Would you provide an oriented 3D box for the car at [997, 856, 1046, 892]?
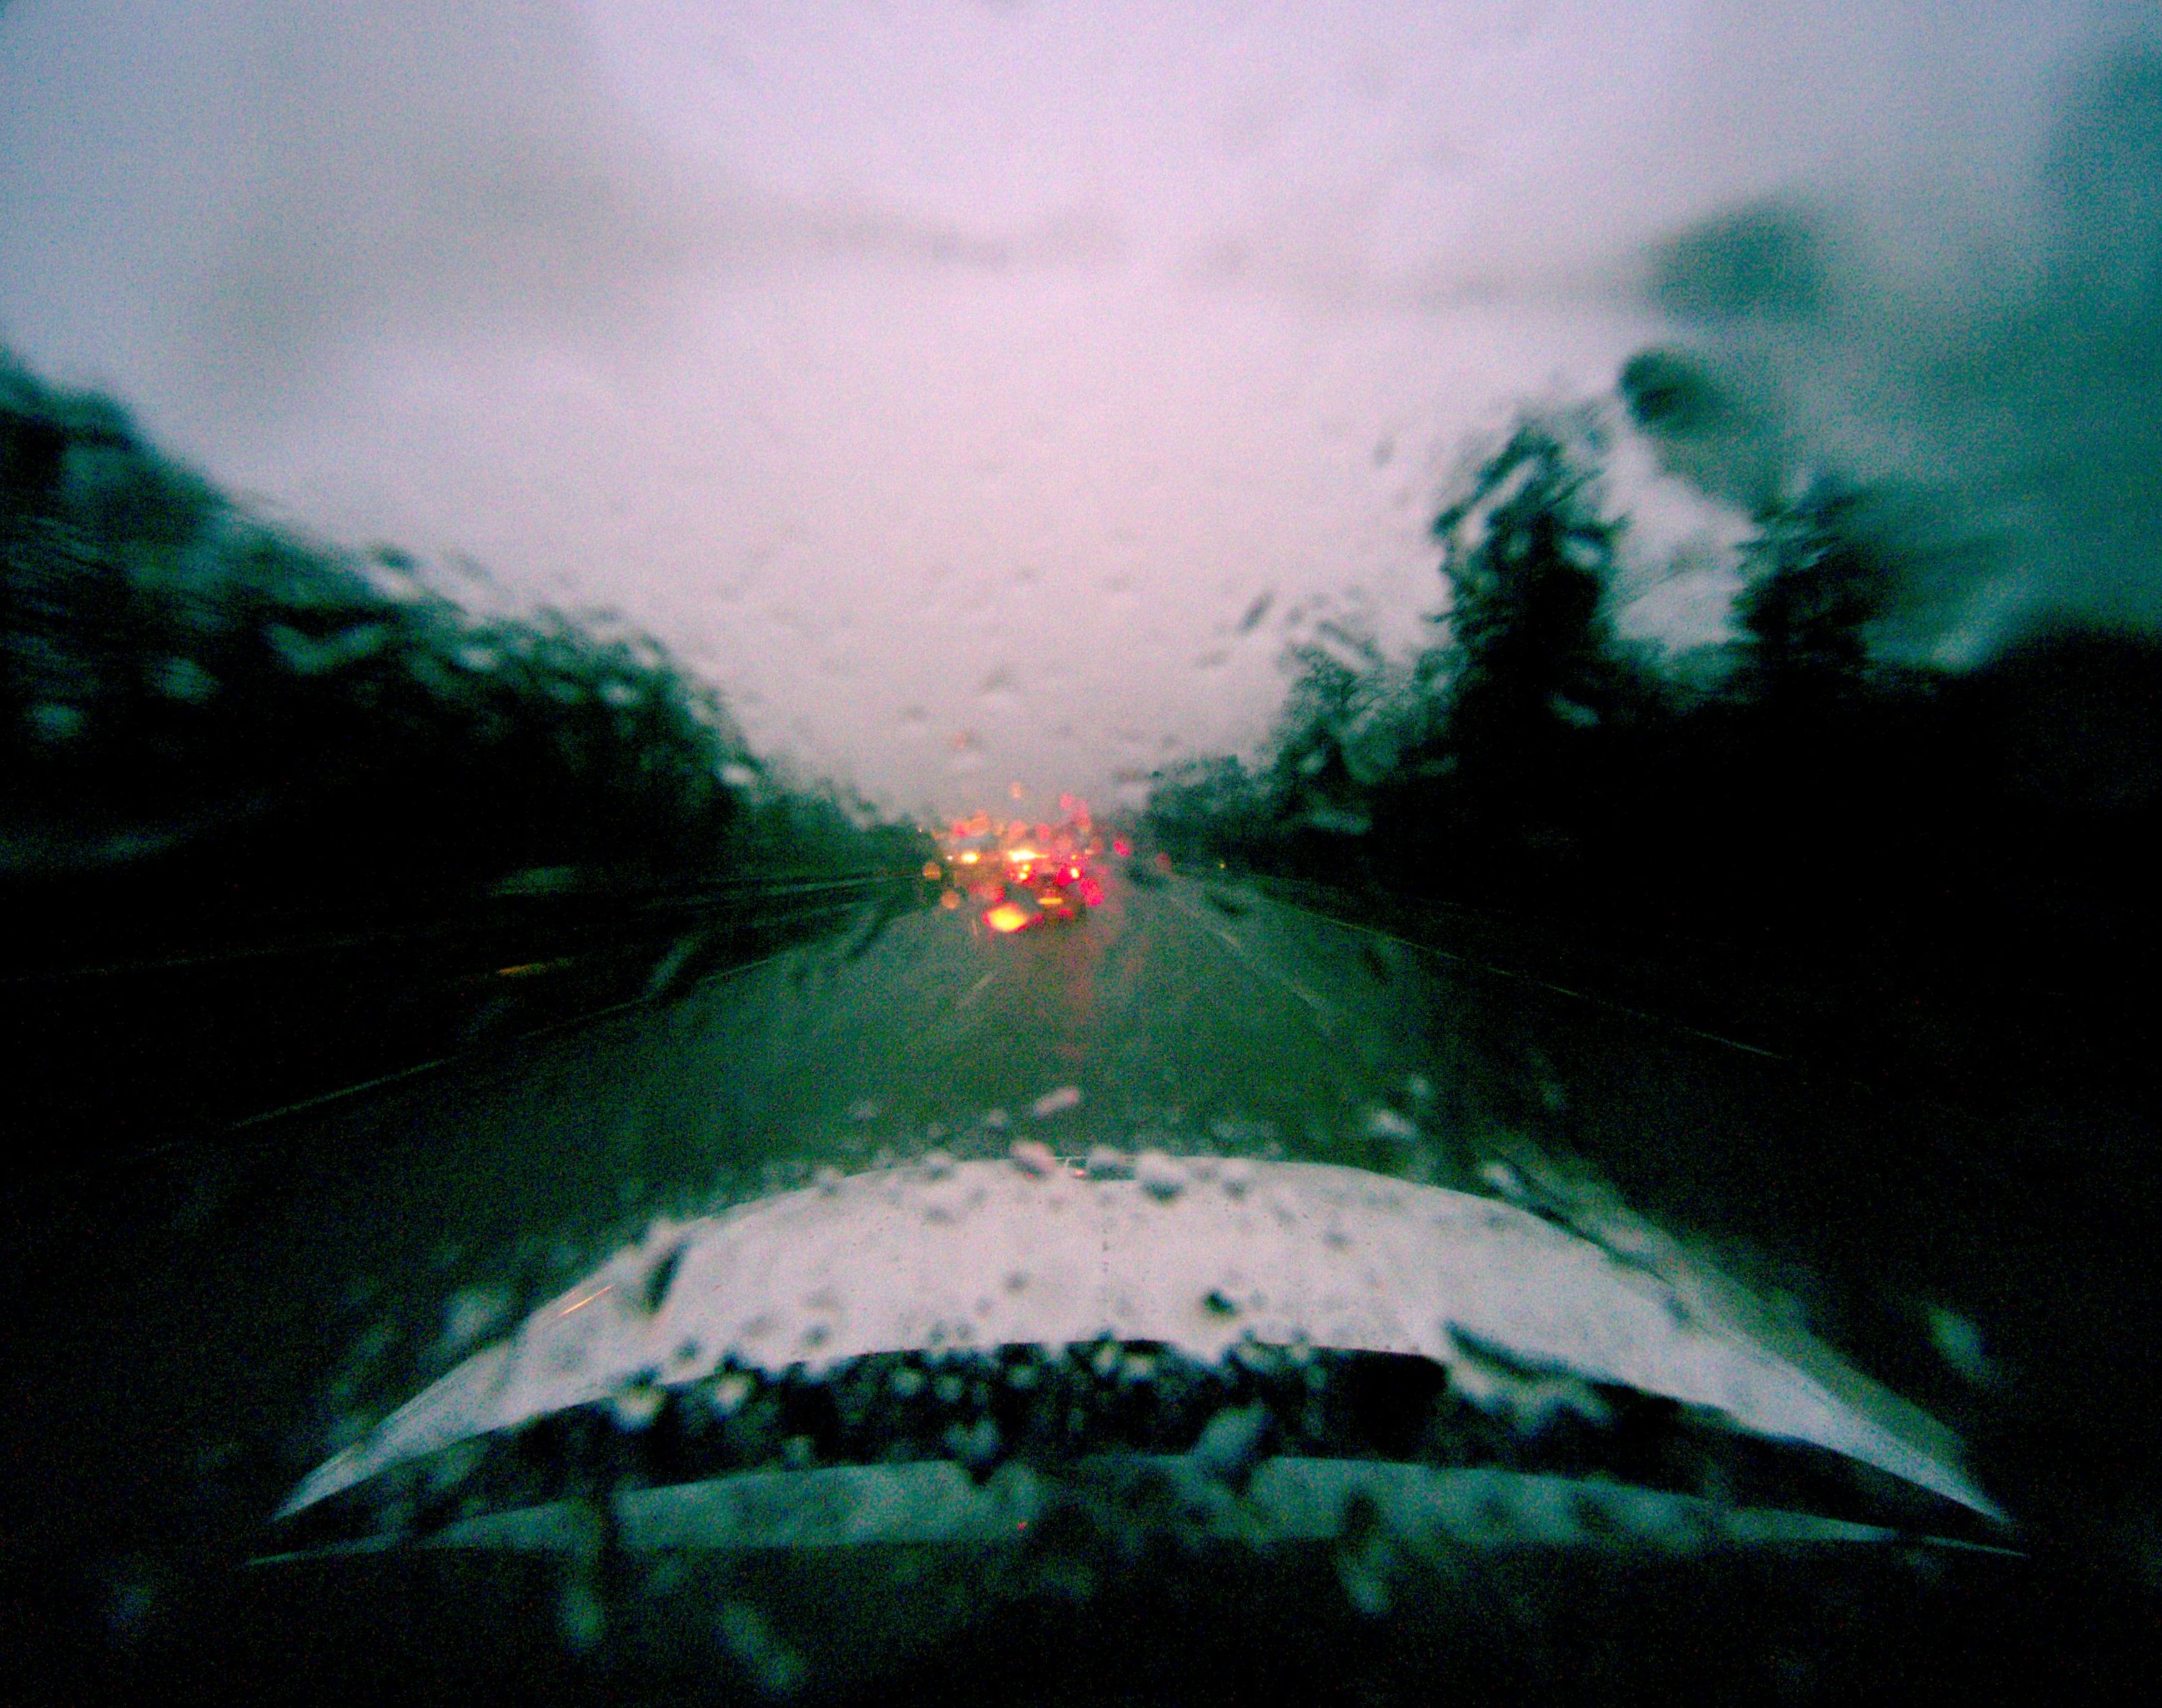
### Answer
[{"bbox_3d":[-2.720,0.873,38.149,1.769,1.534,4.704,-2,0,1],"label":"car"}]

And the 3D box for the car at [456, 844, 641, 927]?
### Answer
[{"bbox_3d":[-13.010,0.682,20.256,1.637,1.785,4.210,2,0,2],"label":"car"}]

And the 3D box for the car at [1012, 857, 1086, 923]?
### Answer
[{"bbox_3d":[-0.712,0.822,20.292,1.521,1.415,3.481,2,0,2],"label":"car"}]
